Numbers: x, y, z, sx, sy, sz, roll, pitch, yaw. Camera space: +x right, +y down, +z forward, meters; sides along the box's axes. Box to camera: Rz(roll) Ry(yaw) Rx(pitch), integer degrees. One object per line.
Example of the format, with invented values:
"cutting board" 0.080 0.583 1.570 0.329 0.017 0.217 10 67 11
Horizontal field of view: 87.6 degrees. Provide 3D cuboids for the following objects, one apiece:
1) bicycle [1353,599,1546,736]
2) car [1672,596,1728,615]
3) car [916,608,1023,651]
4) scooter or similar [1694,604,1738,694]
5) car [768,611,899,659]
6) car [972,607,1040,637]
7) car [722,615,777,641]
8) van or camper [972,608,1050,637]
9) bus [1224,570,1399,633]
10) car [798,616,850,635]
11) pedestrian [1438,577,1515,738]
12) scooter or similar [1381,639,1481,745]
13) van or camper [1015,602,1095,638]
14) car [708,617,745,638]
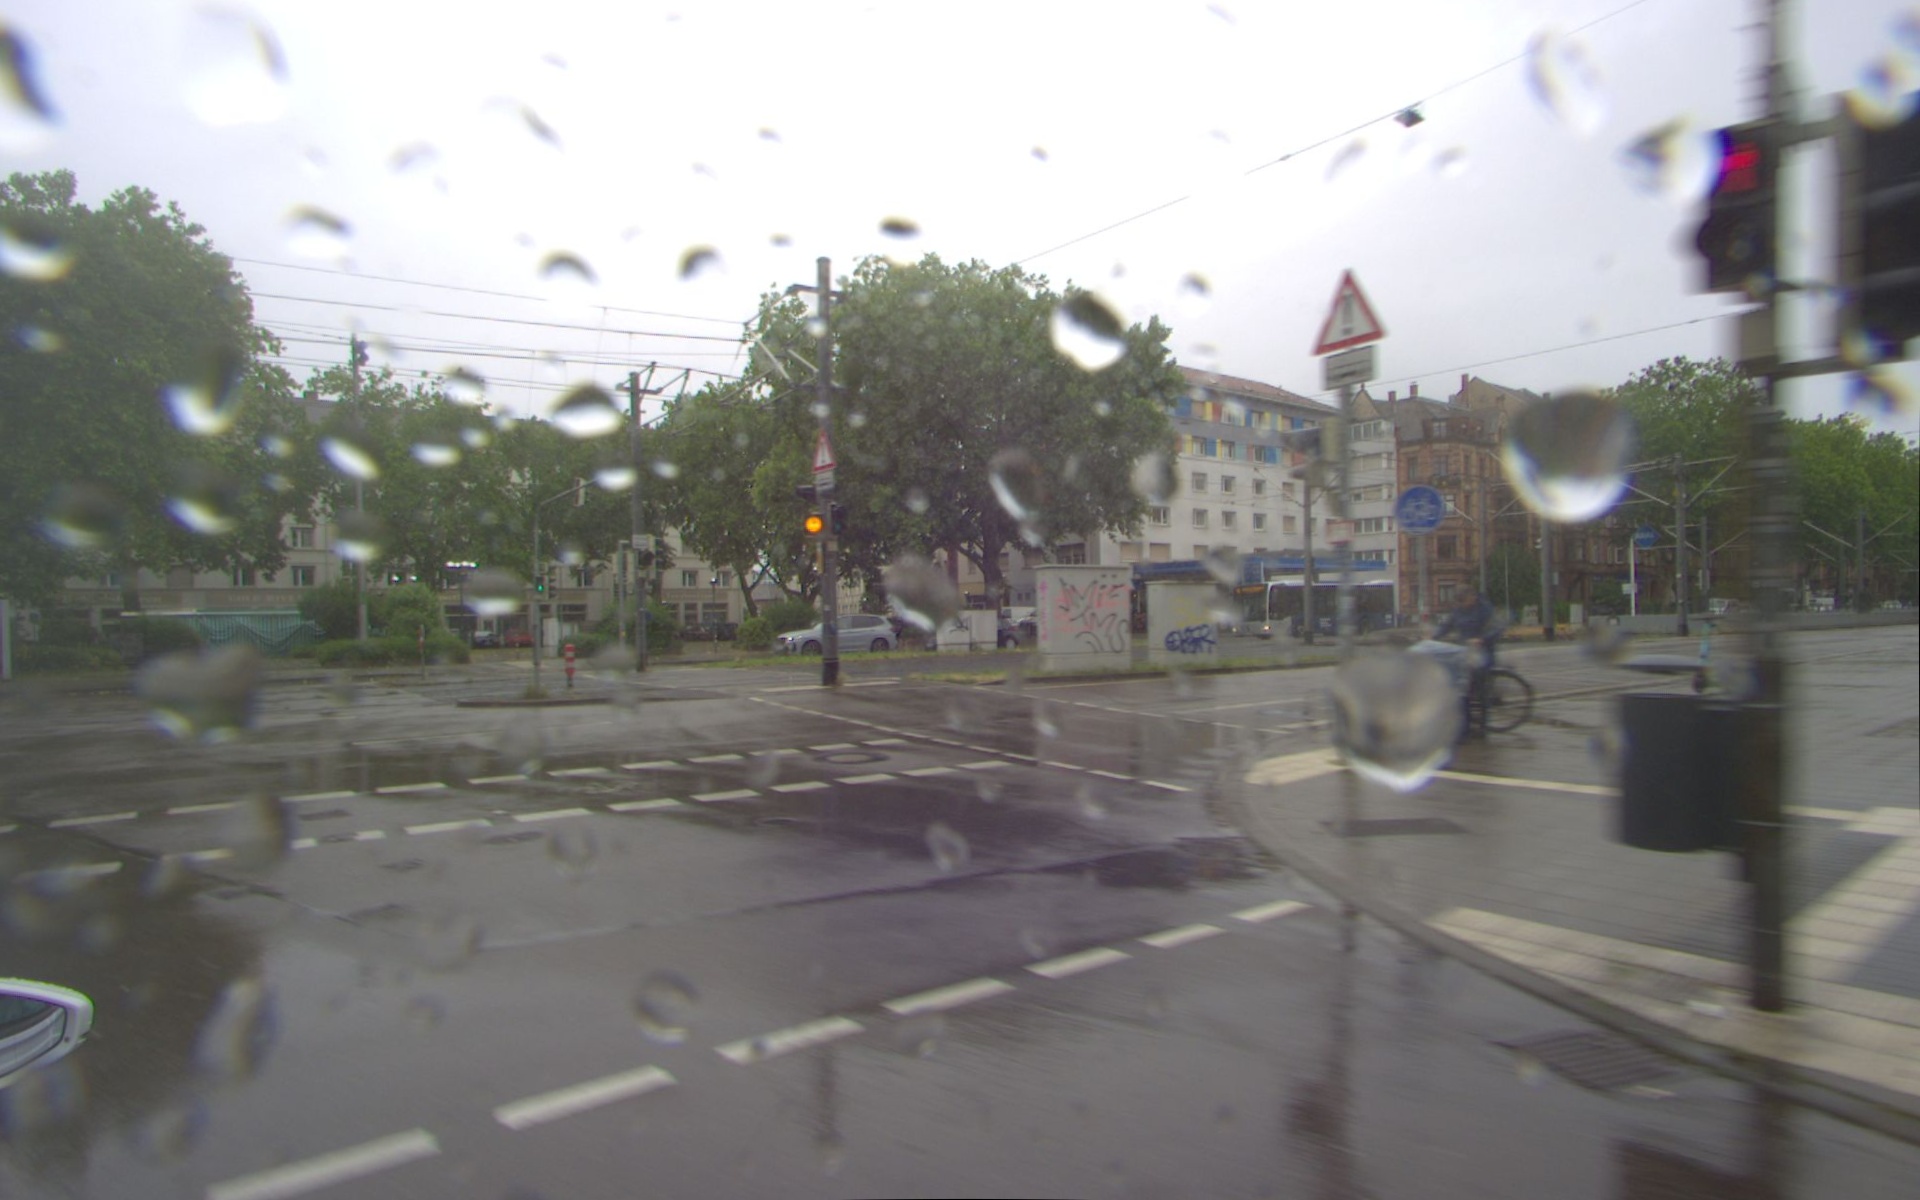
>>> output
"bicycle" 5.530 0.757 11.417 1.906 1.486 0.532 -1 0 20
"car" 65.310 0.497 88.421 3.763 1.645 1.768 -2 -1 29
"car" 0.420 1.185 40.720 4.128 1.620 1.765 -1 0 -38
"scooter or similar" 12.256 0.780 16.229 1.090 1.405 0.284 -1 0 -38
"car" -4.593 1.242 36.801 4.500 1.620 1.778 0 0 -38
"car" 2.943 1.363 63.482 4.213 1.802 1.724 -1 0 -40
"car" -14.346 1.931 68.154 1.978 1.639 3.966 -1 -1 -41
"van or camper" 3.110 1.354 60.400 4.619 1.620 1.983 -1 -1 -41
"bus" 19.608 0.058 55.309 11.949 3.154 2.873 0 0 -36
"car" -11.269 2.123 83.031 3.948 1.471 1.666 -1 -1 -35
"pedestrian" 5.635 0.607 10.928 0.679 1.685 0.601 -1 0 33
"scooter or similar" 5.018 0.953 10.672 0.911 1.062 0.512 -1 0 32
"van or camper" 5.567 1.145 58.408 4.619 1.940 1.983 -1 0 -41
"car" -19.521 2.336 83.558 1.694 1.638 3.976 0 -3 -34
